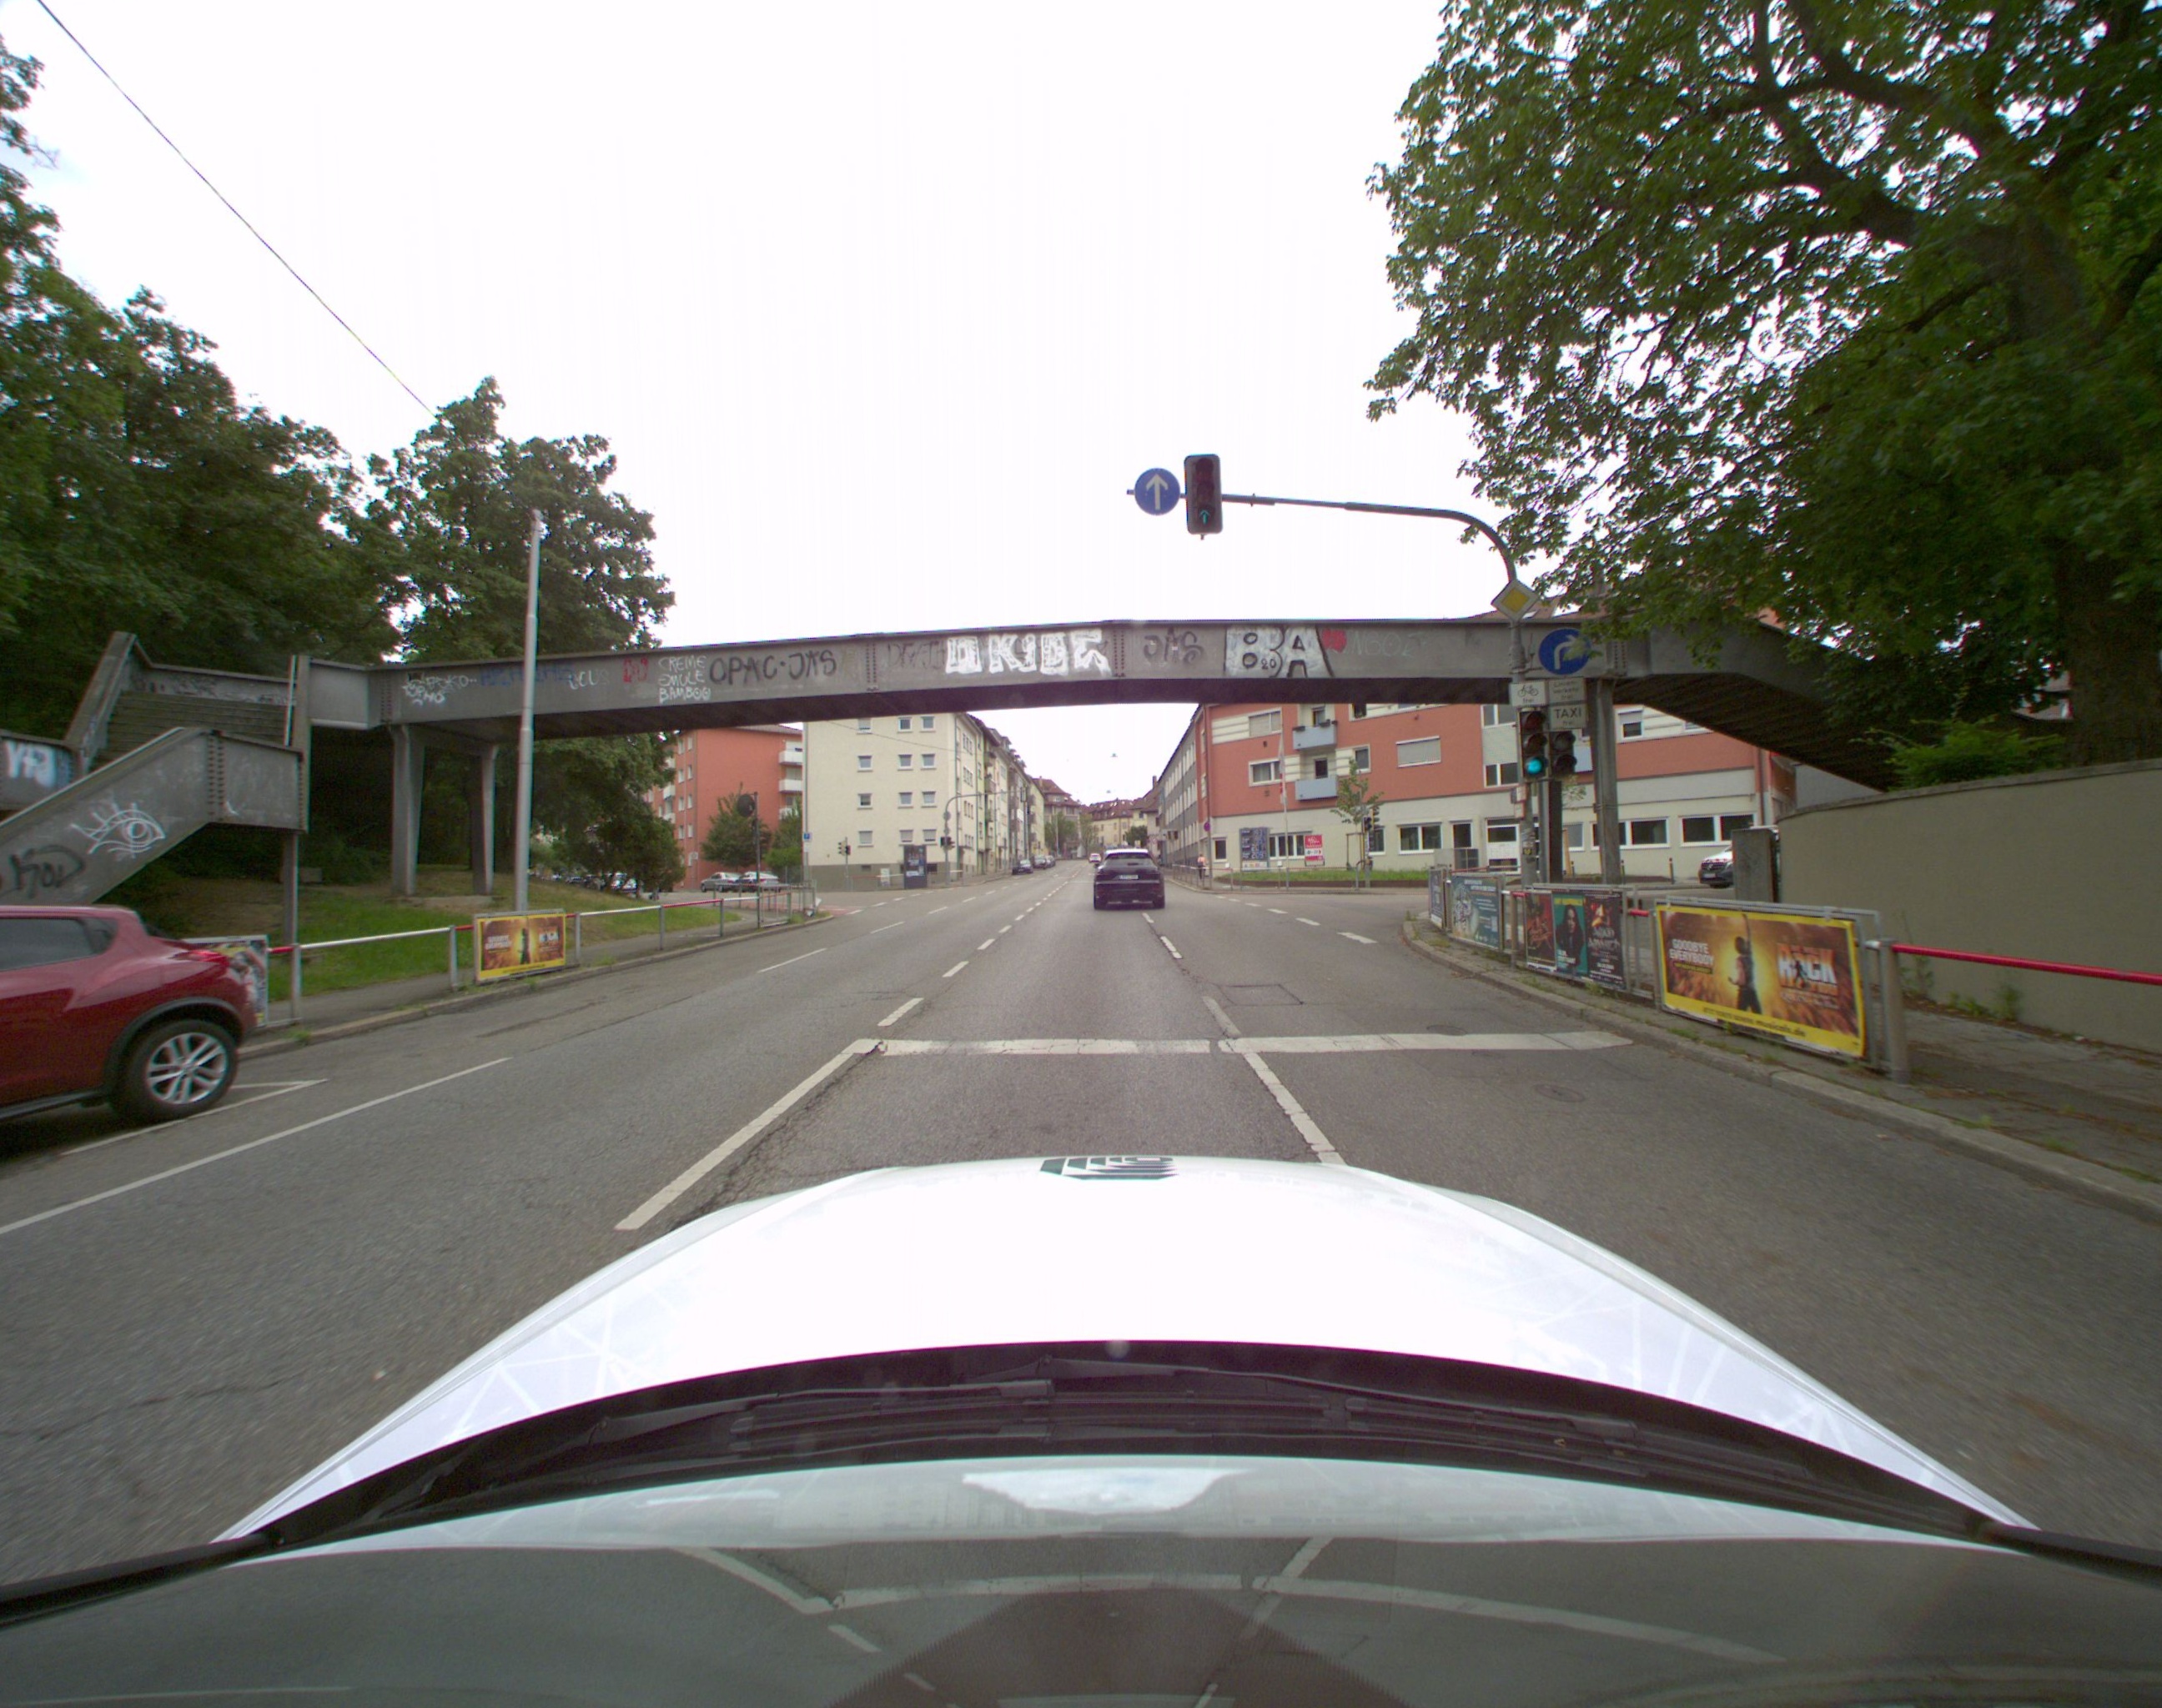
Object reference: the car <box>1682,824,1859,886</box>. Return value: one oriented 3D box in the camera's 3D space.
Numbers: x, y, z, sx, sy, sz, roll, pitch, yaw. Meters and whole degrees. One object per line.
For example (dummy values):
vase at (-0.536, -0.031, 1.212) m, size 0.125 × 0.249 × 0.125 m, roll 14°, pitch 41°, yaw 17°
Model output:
car at (21.937, 0.039, 26.055) m, size 3.966 × 1.772 × 1.834 m, roll -2°, pitch 0°, yaw 6°

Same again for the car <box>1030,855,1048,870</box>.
car at (-4.823, 0.935, 93.671) m, size 1.759 × 1.650 × 4.002 m, roll -2°, pitch 0°, yaw 2°

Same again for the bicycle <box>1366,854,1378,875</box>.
bicycle at (13.085, 0.476, 36.661) m, size 0.337 × 0.903 × 1.753 m, roll -1°, pitch 0°, yaw 24°

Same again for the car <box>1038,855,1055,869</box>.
car at (-4.350, 0.956, 102.609) m, size 1.759 × 1.650 × 4.002 m, roll -2°, pitch 0°, yaw 2°

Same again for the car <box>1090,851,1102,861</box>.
car at (2.417, 0.284, 126.803) m, size 1.759 × 1.508 × 4.002 m, roll -2°, pitch 0°, yaw 2°

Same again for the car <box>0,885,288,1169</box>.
car at (-6.906, 1.052, 4.238) m, size 1.528 × 1.540 × 3.983 m, roll -3°, pitch 0°, yaw 1°

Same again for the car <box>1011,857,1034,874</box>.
car at (-5.502, 1.101, 77.060) m, size 1.759 × 1.508 × 4.002 m, roll -2°, pitch 0°, yaw 2°

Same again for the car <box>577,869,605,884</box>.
car at (-51.729, 2.364, 85.983) m, size 1.817 × 1.510 × 3.952 m, roll -2°, pitch 0°, yaw -42°

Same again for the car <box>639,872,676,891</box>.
car at (-35.163, 2.280, 67.579) m, size 1.817 × 1.510 × 3.952 m, roll -2°, pitch 0°, yaw -42°

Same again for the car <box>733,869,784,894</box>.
car at (-20.930, 1.765, 52.760) m, size 1.817 × 1.510 × 3.952 m, roll -2°, pitch 0°, yaw -42°

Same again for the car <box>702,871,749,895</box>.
car at (-24.535, 2.005, 56.166) m, size 1.817 × 1.510 × 3.952 m, roll -2°, pitch 0°, yaw -42°

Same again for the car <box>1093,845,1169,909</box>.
car at (1.390, 0.584, 23.709) m, size 1.986 × 1.662 × 4.002 m, roll -1°, pitch 1°, yaw 1°

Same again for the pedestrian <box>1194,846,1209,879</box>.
pedestrian at (6.657, 0.461, 44.988) m, size 0.651 × 1.792 × 0.714 m, roll -1°, pitch 0°, yaw -1°

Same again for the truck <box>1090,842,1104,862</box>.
truck at (2.902, -0.364, 145.186) m, size 2.259 × 3.424 × 9.879 m, roll -2°, pitch 0°, yaw 1°

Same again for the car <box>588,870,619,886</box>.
car at (-47.696, 2.361, 81.336) m, size 1.817 × 1.510 × 3.952 m, roll -2°, pitch 0°, yaw -42°

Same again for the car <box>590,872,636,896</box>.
car at (-31.146, 1.973, 54.186) m, size 1.817 × 1.510 × 3.952 m, roll -2°, pitch 0°, yaw -42°
